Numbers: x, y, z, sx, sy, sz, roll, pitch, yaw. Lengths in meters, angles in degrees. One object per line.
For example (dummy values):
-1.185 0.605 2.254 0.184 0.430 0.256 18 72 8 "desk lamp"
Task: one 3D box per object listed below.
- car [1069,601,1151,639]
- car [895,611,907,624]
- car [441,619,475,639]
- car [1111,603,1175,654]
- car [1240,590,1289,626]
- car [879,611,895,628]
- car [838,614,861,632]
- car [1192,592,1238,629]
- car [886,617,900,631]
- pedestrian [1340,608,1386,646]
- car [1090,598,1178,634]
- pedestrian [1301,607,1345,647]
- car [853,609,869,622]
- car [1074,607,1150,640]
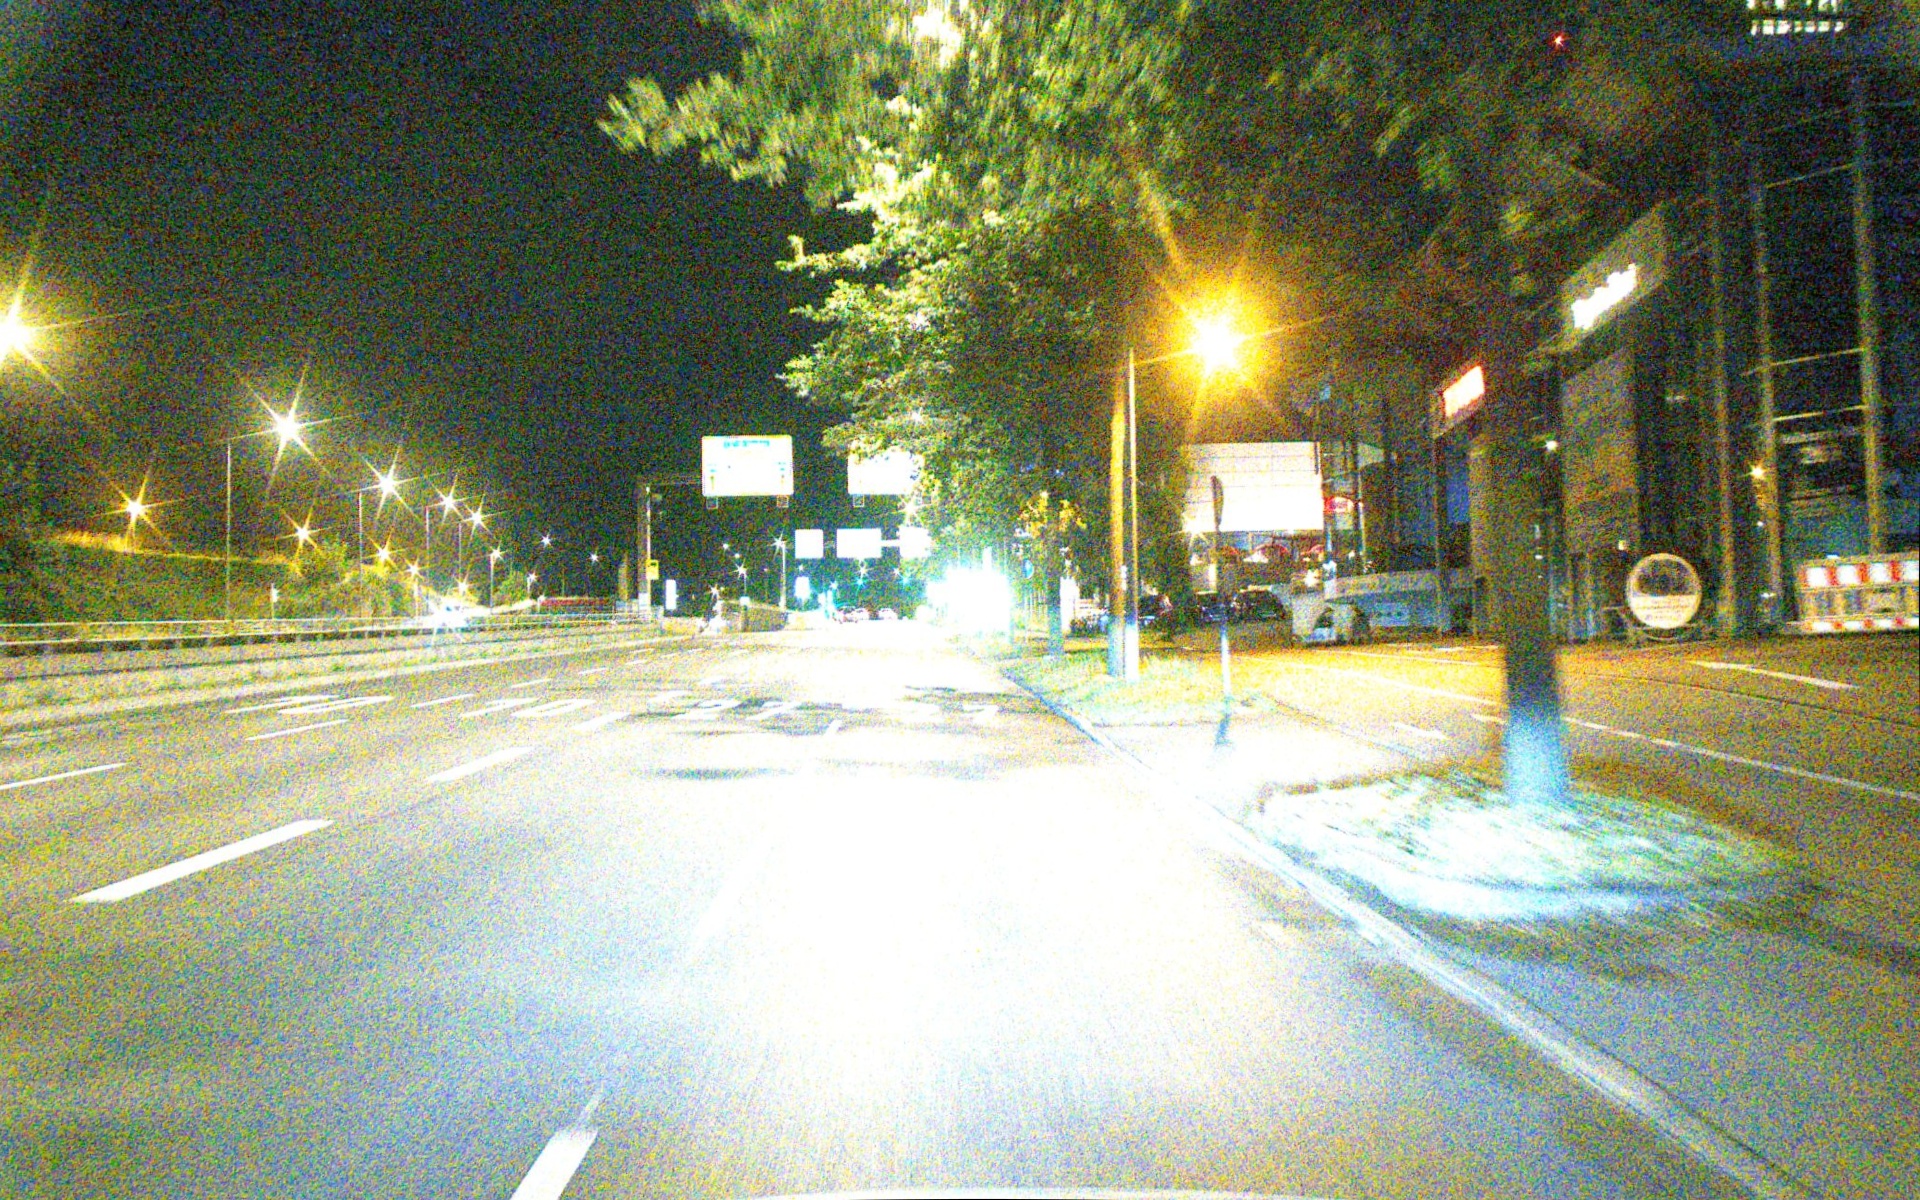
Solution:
7.689 1.037 85.061 3.909 1.889 1.819 1 -2 -5 "car"
-9.368 2.761 261.813 1.801 1.870 3.998 1 -2 -2 "car"
-39.420 2.303 130.010 1.592 1.507 3.678 1 -2 -1 "car"
7.460 1.174 67.193 1.951 1.979 4.002 0 -2 16 "car"
13.854 0.367 75.434 1.852 1.538 3.638 0 -2 5 "car"
-9.324 2.489 212.402 1.953 2.049 3.998 1 -2 -2 "car"
-10.830 2.279 162.368 1.927 1.741 4.000 0 -2 1 "car"
11.396 0.487 74.091 1.852 1.538 3.638 0 -2 5 "car"
-9.027 3.215 222.805 1.745 1.758 3.998 1 -2 -2 "car"
10.972 0.743 45.038 0.982 1.025 0.768 1 -2 -17 "pedestrian"
7.619 0.706 72.616 3.554 1.477 1.705 1 -2 -5 "car"
9.873 0.726 44.989 0.897 1.057 0.767 -3 -2 42 "pedestrian"
-13.405 2.057 224.235 1.953 1.624 3.998 -1 -2 -2 "car"
7.362 1.136 80.321 3.442 1.535 1.733 1 -2 -5 "car"
